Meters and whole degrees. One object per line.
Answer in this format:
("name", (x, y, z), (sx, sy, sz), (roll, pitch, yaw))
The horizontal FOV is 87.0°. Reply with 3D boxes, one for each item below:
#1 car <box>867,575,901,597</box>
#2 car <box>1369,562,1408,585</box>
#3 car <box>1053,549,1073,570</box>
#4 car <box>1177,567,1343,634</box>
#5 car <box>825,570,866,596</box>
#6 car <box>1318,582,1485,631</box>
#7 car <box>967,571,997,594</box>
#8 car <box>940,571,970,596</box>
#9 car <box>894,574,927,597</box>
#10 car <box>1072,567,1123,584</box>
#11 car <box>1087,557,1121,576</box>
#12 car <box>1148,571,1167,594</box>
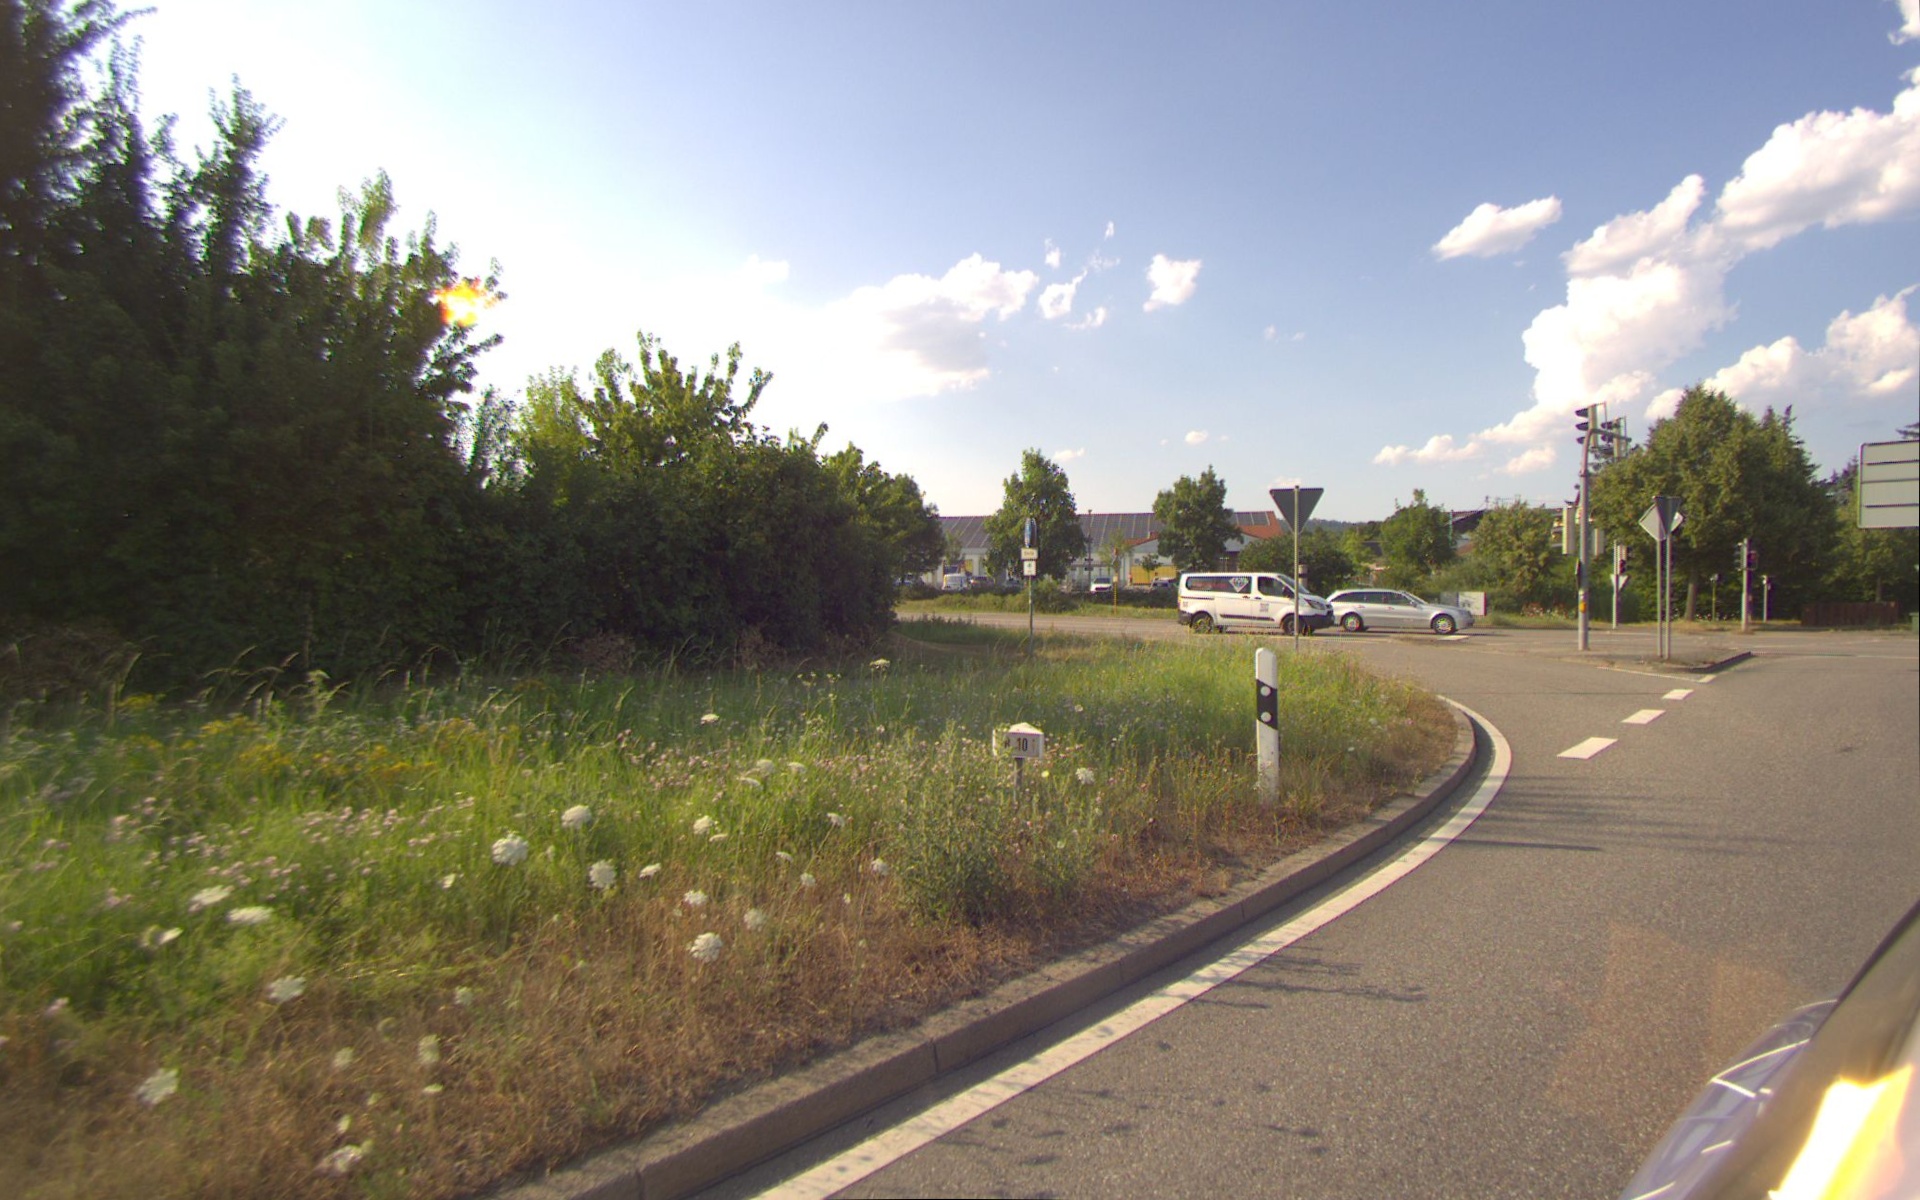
("car", (-7.411, -1.348, 99.240), (1.970, 2.039, 4.912), (0, -1, 13))
("car", (32.718, -2.017, 77.334), (1.578, 1.601, 3.583), (0, -1, 4))
("car", (10.098, -3.956, 99.326), (1.801, 1.869, 3.779), (0, -1, 8))
("car", (9.594, -0.012, 32.510), (4.784, 1.972, 1.883), (2, 0, 34))
("car", (-9.830, -1.456, 87.070), (1.970, 2.039, 4.912), (0, -1, 13))
("car", (14.744, 0.224, 33.935), (4.918, 1.533, 1.840), (0, -1, 34))
("car", (2.163, -1.608, 96.927), (1.970, 2.039, 4.653), (0, -1, 13))
("car", (-0.391, -1.349, 85.133), (1.934, 2.039, 4.647), (0, -1, 7))
("car", (-4.754, -1.359, 98.290), (1.970, 2.039, 4.912), (0, -1, 13))
("car", (12.966, -2.273, 95.179), (4.714, 1.554, 1.846), (0, -1, 9))
("car", (14.022, -3.229, 98.557), (3.274, 1.712, 1.686), (0, -1, 9))
("car", (17.181, -1.513, 87.909), (1.583, 1.907, 2.925), (0, -1, 12))
